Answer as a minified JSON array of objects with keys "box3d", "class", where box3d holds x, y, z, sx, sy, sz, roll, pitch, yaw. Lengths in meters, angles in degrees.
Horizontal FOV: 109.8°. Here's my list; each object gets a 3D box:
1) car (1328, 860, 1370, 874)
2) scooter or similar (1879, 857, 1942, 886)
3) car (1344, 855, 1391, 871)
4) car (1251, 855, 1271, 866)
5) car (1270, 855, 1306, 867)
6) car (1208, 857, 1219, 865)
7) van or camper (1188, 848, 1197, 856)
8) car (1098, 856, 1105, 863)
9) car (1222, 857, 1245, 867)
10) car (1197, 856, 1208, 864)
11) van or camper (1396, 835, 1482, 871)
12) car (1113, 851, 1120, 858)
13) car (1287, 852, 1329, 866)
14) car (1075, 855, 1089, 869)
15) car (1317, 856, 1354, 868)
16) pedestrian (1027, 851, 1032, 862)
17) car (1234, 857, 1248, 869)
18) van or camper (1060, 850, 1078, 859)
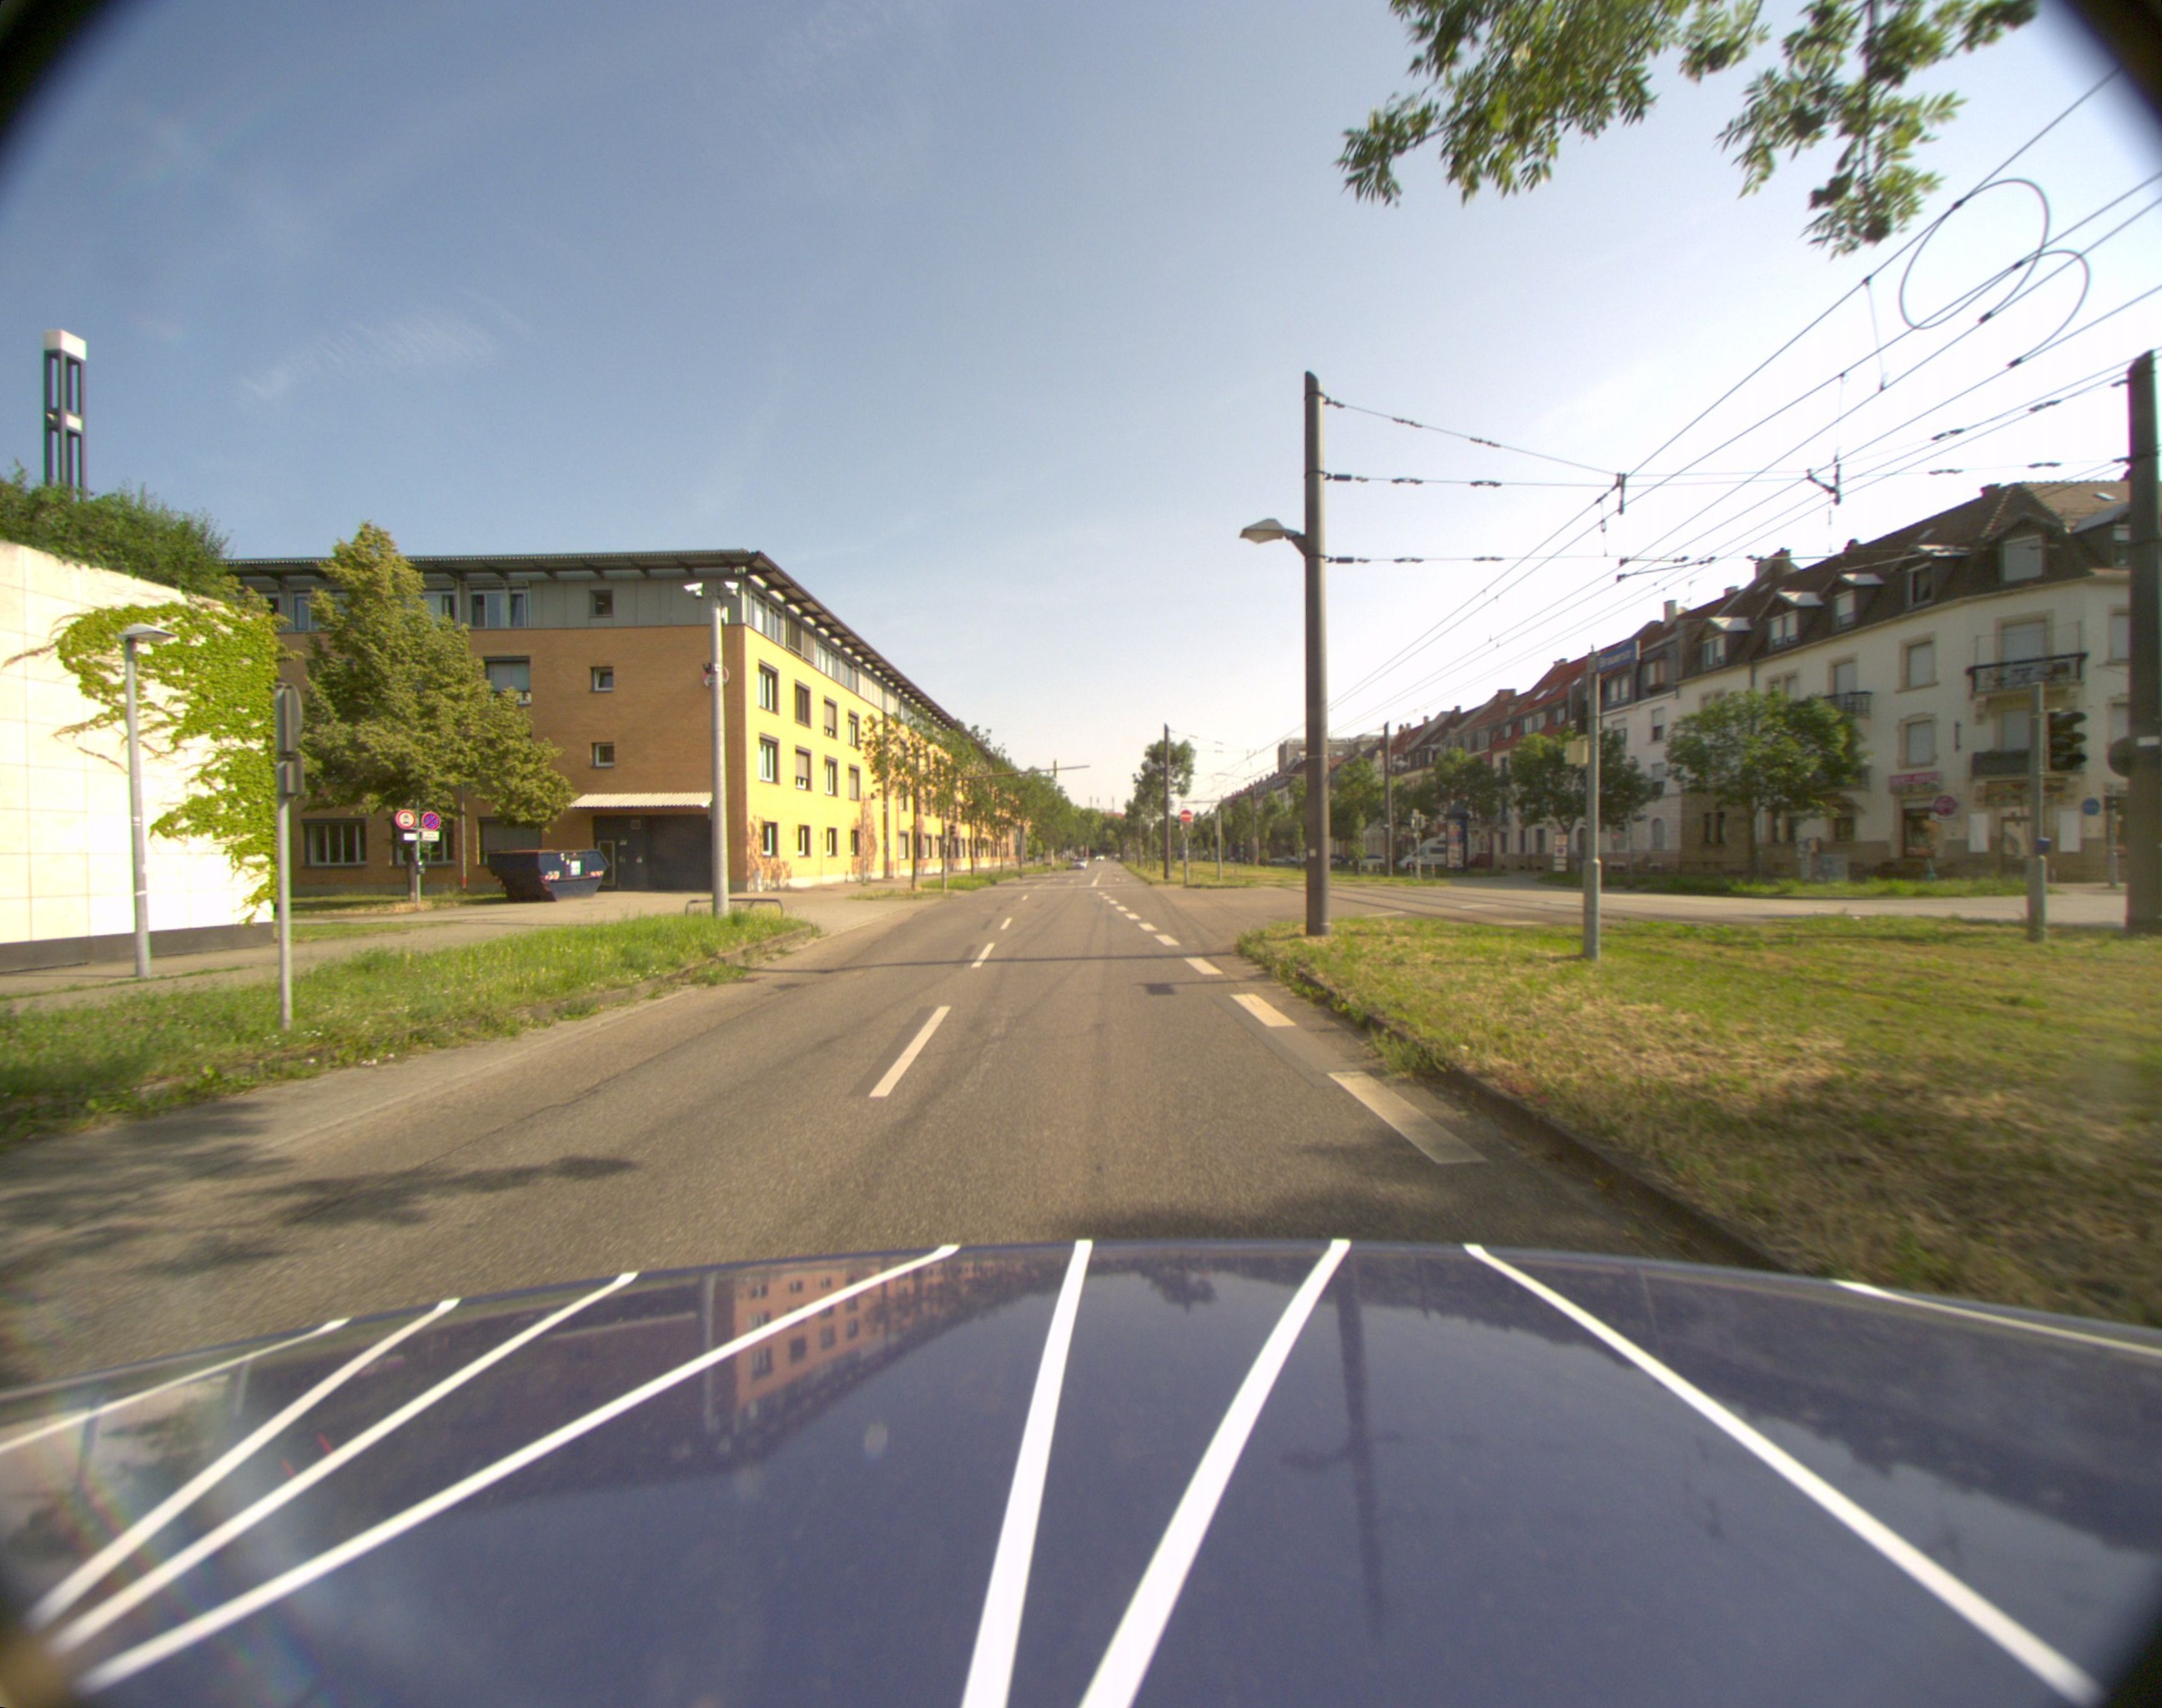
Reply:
[{"box3d":[27.742,1.348,78.602,3.677,1.234,1.665,-3,1,37],"class":"car"},{"box3d":[32.260,0.682,29.574,0.742,1.062,1.486,-3,1,-19],"class":"scooter or similar"},{"box3d":[28.318,0.887,75.065,4.004,1.309,1.665,-3,1,37],"class":"car"},{"box3d":[24.522,0.861,103.812,1.816,1.425,3.926,-3,1,2],"class":"car"},{"box3d":[30.883,1.066,113.490,4.765,1.477,2.026,-3,1,34],"class":"car"},{"box3d":[27.279,1.499,156.396,1.951,1.451,4.650,-3,1,8],"class":"car"},{"box3d":[32.404,-0.570,220.340,1.956,2.085,5.353,-3,1,2],"class":"van or camper"},{"box3d":[5.388,1.382,195.585,1.692,1.476,3.366,-3,1,1],"class":"car"},{"box3d":[30.650,1.622,153.011,3.989,1.716,2.004,-3,1,37],"class":"car"},{"box3d":[27.727,1.401,173.257,1.998,1.620,5.380,-3,1,4],"class":"car"},{"box3d":[28.856,-0.074,61.331,5.910,2.558,2.203,-3,1,37],"class":"van or camper"},{"box3d":[10.605,0.103,224.531,1.998,2.002,4.000,-3,1,3],"class":"car"},{"box3d":[30.154,0.656,100.972,4.939,1.716,1.860,-3,1,37],"class":"car"},{"box3d":[0.167,0.932,92.048,1.629,1.476,3.366,-3,1,1],"class":"car"},{"box3d":[29.342,0.912,87.638,3.677,1.234,1.665,-3,1,37],"class":"car"},{"box3d":[-8.502,0.414,125.186,0.697,1.647,0.773,0,1,2],"class":"pedestrian"},{"box3d":[25.278,1.388,120.253,1.768,1.646,4.001,-3,1,6],"class":"car"},{"box3d":[-4.127,0.065,261.439,5.800,2.678,2.408,-3,1,-1],"class":"van or camper"}]
